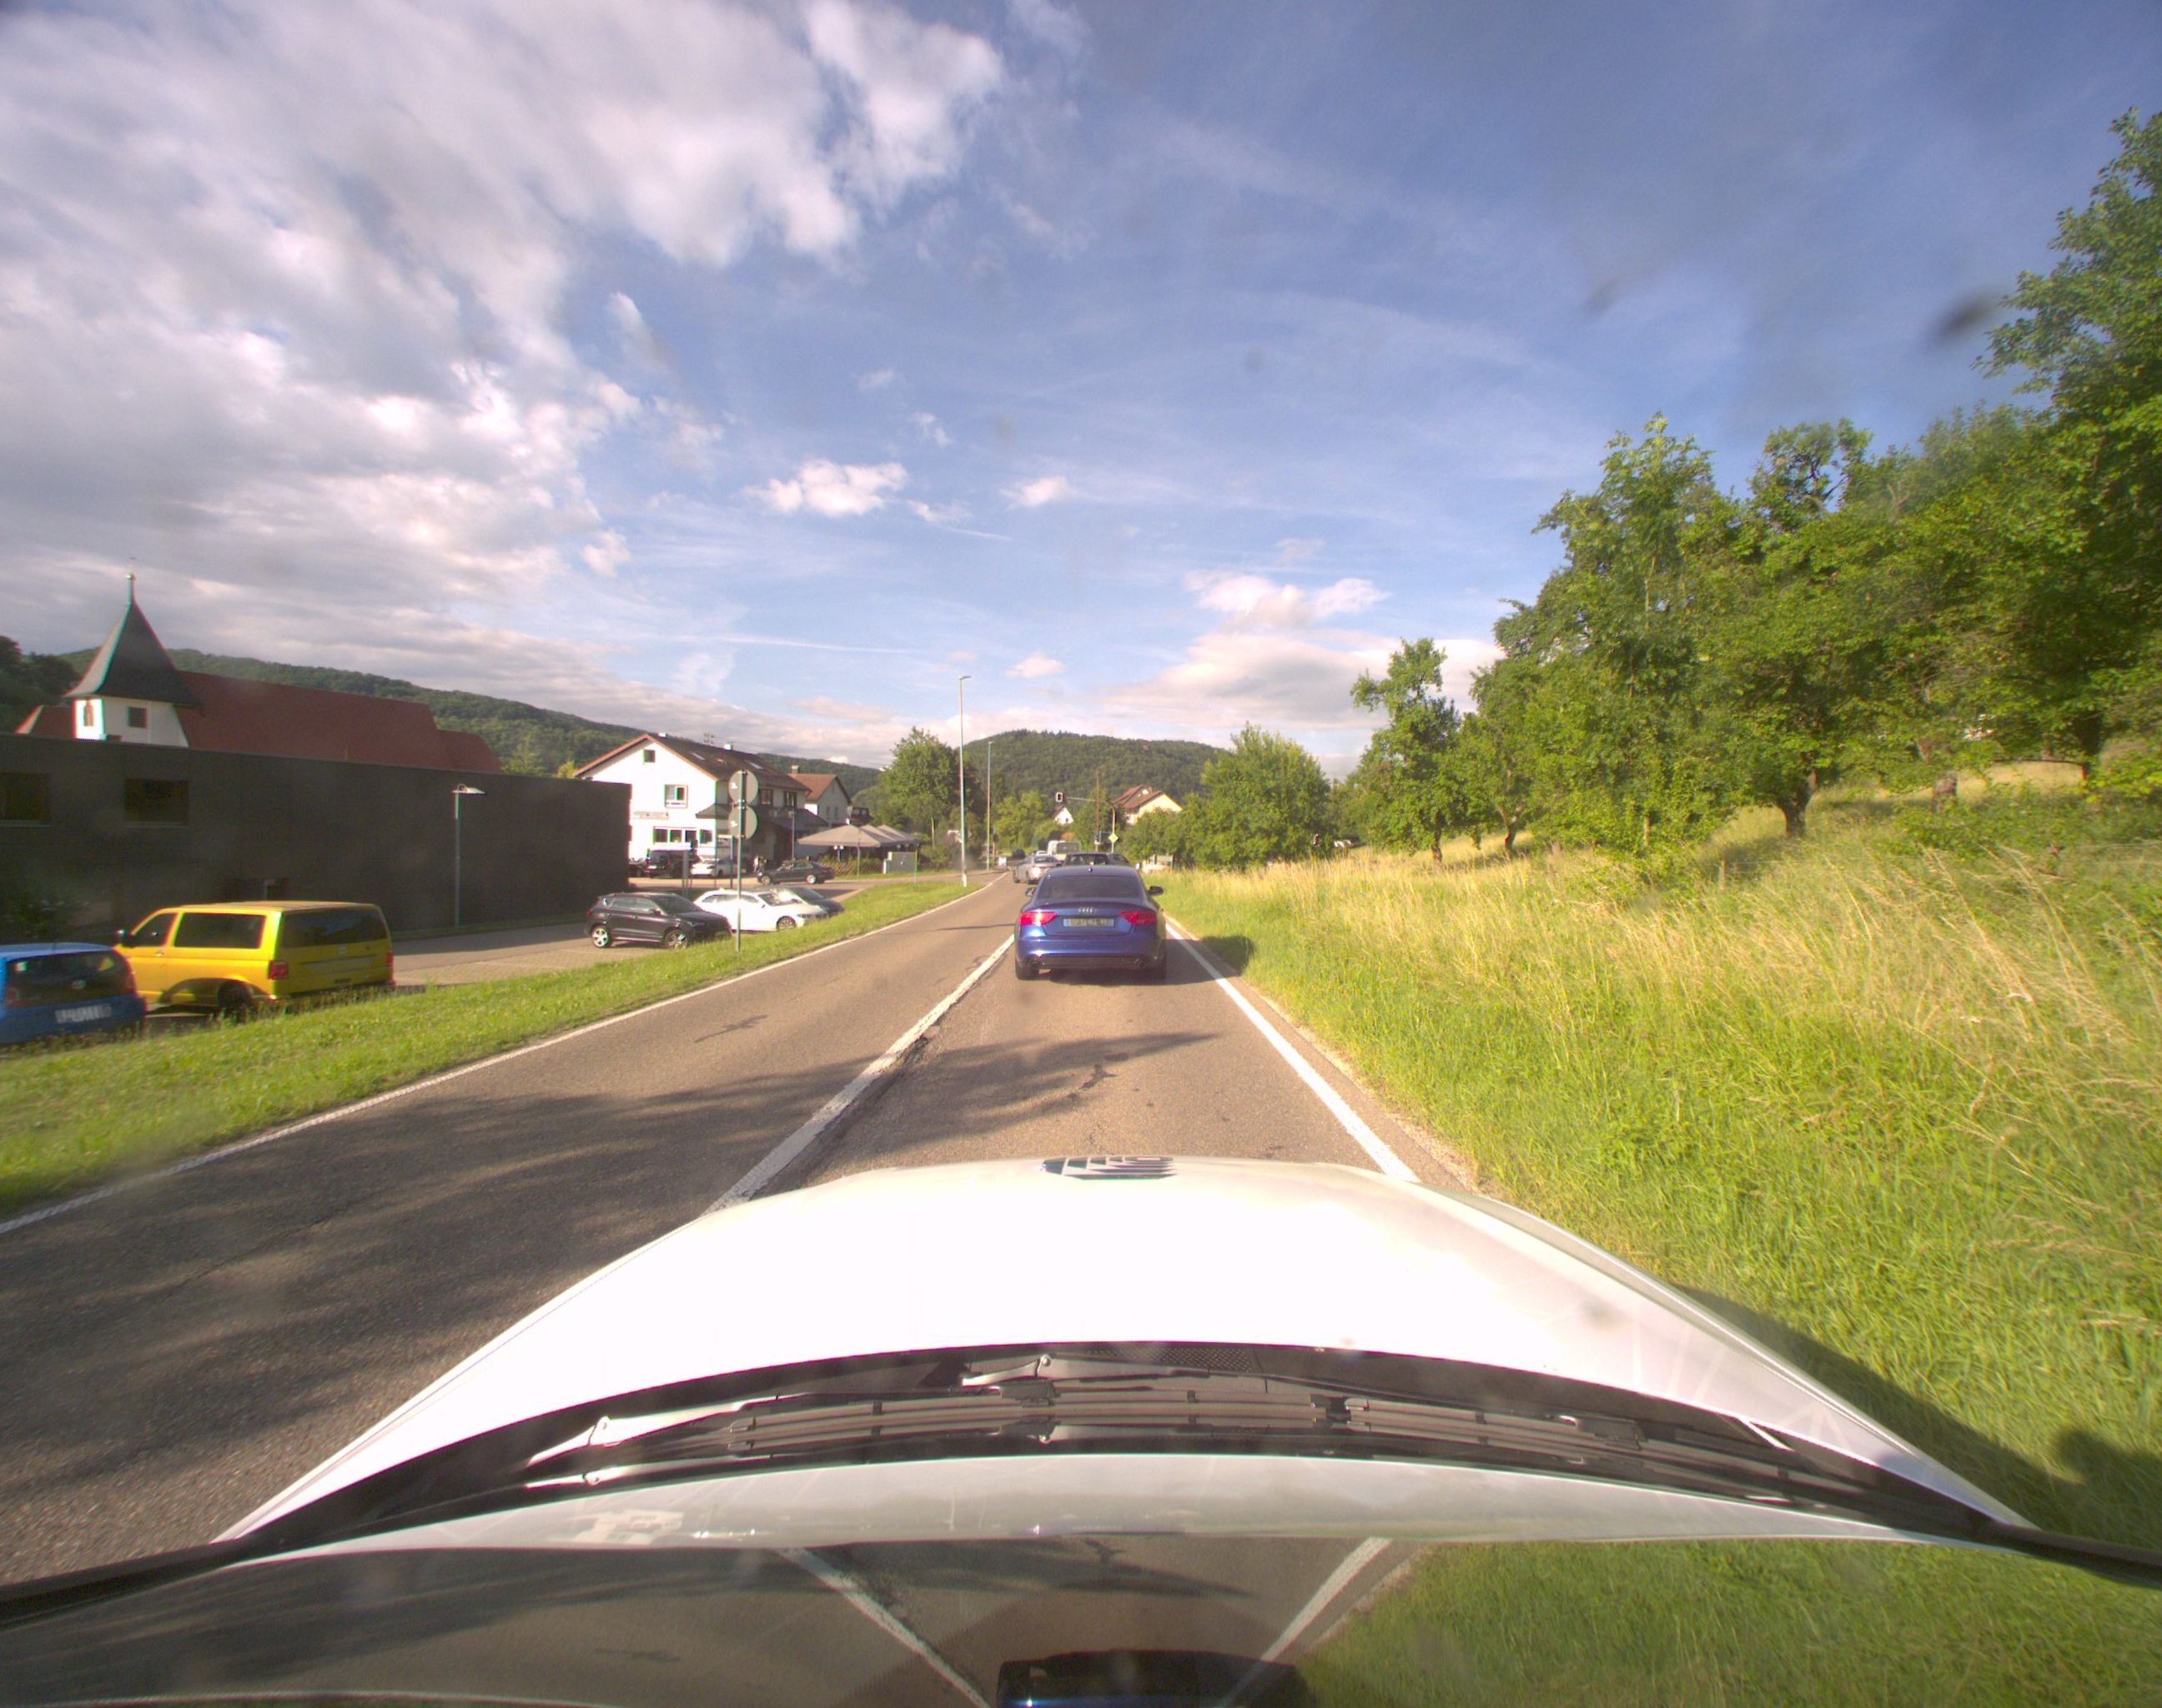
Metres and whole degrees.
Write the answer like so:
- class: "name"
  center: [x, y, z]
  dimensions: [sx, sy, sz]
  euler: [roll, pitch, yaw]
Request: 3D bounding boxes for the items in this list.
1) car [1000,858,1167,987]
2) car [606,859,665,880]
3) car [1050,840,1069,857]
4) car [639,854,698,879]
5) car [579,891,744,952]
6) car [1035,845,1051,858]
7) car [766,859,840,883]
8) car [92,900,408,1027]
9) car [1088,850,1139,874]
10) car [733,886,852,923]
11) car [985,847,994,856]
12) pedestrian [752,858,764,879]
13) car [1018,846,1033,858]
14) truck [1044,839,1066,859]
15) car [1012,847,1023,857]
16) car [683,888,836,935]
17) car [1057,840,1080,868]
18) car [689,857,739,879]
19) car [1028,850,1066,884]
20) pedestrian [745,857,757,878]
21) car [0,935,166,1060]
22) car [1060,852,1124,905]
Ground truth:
- class: "car"
  center: [0.222, 0.780, 10.922]
  dimensions: [1.786, 1.388, 4.007]
  euler: [-1, -1, 6]
- class: "car"
  center: [-31.147, 1.068, 57.023]
  dimensions: [1.835, 1.354, 4.000]
  euler: [0, -1, 1]
- class: "car"
  center: [-2.109, -0.507, 78.054]
  dimensions: [1.742, 1.639, 3.996]
  euler: [0, -1, -2]
- class: "car"
  center: [-28.383, 0.864, 56.154]
  dimensions: [1.880, 1.662, 4.001]
  euler: [0, -1, 2]
- class: "car"
  center: [-12.484, 1.969, 24.325]
  dimensions: [3.996, 1.637, 2.007]
  euler: [0, -1, 13]
- class: "car"
  center: [-4.618, -0.292, 99.569]
  dimensions: [1.696, 1.490, 3.518]
  euler: [0, -1, -7]
- class: "car"
  center: [-16.979, 1.020, 49.688]
  dimensions: [3.952, 1.442, 1.930]
  euler: [0, -1, 22]
- class: "car"
  center: [-14.735, 1.823, 14.500]
  dimensions: [4.574, 1.868, 2.009]
  euler: [0, -1, 17]
- class: "car"
  center: [2.135, 0.541, 52.531]
  dimensions: [1.609, 1.478, 3.754]
  euler: [-1, -1, 32]
- class: "car"
  center: [-11.147, 1.935, 31.611]
  dimensions: [3.963, 1.310, 1.765]
  euler: [0, -1, 9]
- class: "car"
  center: [-17.622, -0.463, 156.973]
  dimensions: [1.625, 1.576, 3.669]
  euler: [0, -1, -8]
- class: "pedestrian"
  center: [-22.950, 1.004, 57.939]
  dimensions: [0.606, 1.503, 0.590]
  euler: [0, -1, 2]
- class: "car"
  center: [-7.418, -0.287, 108.460]
  dimensions: [1.698, 1.490, 3.513]
  euler: [0, -1, -11]
- class: "truck"
  center: [-2.692, -0.488, 83.353]
  dimensions: [1.696, 1.953, 5.907]
  euler: [0, -1, -7]
- class: "car"
  center: [-9.860, -0.308, 126.924]
  dimensions: [1.695, 1.490, 3.520]
  euler: [0, -1, -5]
- class: "car"
  center: [-11.262, 1.989, 28.615]
  dimensions: [4.780, 1.493, 1.888]
  euler: [0, -1, 13]
- class: "car"
  center: [-1.020, 0.031, 66.012]
  dimensions: [1.742, 2.195, 3.996]
  euler: [0, -1, -2]
- class: "car"
  center: [-25.446, 0.966, 56.612]
  dimensions: [1.550, 1.450, 4.001]
  euler: [0, -1, 2]
- class: "car"
  center: [-1.688, 0.640, 40.939]
  dimensions: [1.800, 1.639, 4.459]
  euler: [0, -1, -2]
- class: "pedestrian"
  center: [-23.653, 0.996, 58.384]
  dimensions: [0.606, 1.503, 0.590]
  euler: [0, -1, 2]
- class: "car"
  center: [-15.902, 2.023, 12.003]
  dimensions: [3.470, 1.472, 1.638]
  euler: [0, -1, 11]
- class: "car"
  center: [0.438, 0.769, 27.206]
  dimensions: [1.737, 1.639, 4.007]
  euler: [0, -1, 6]
